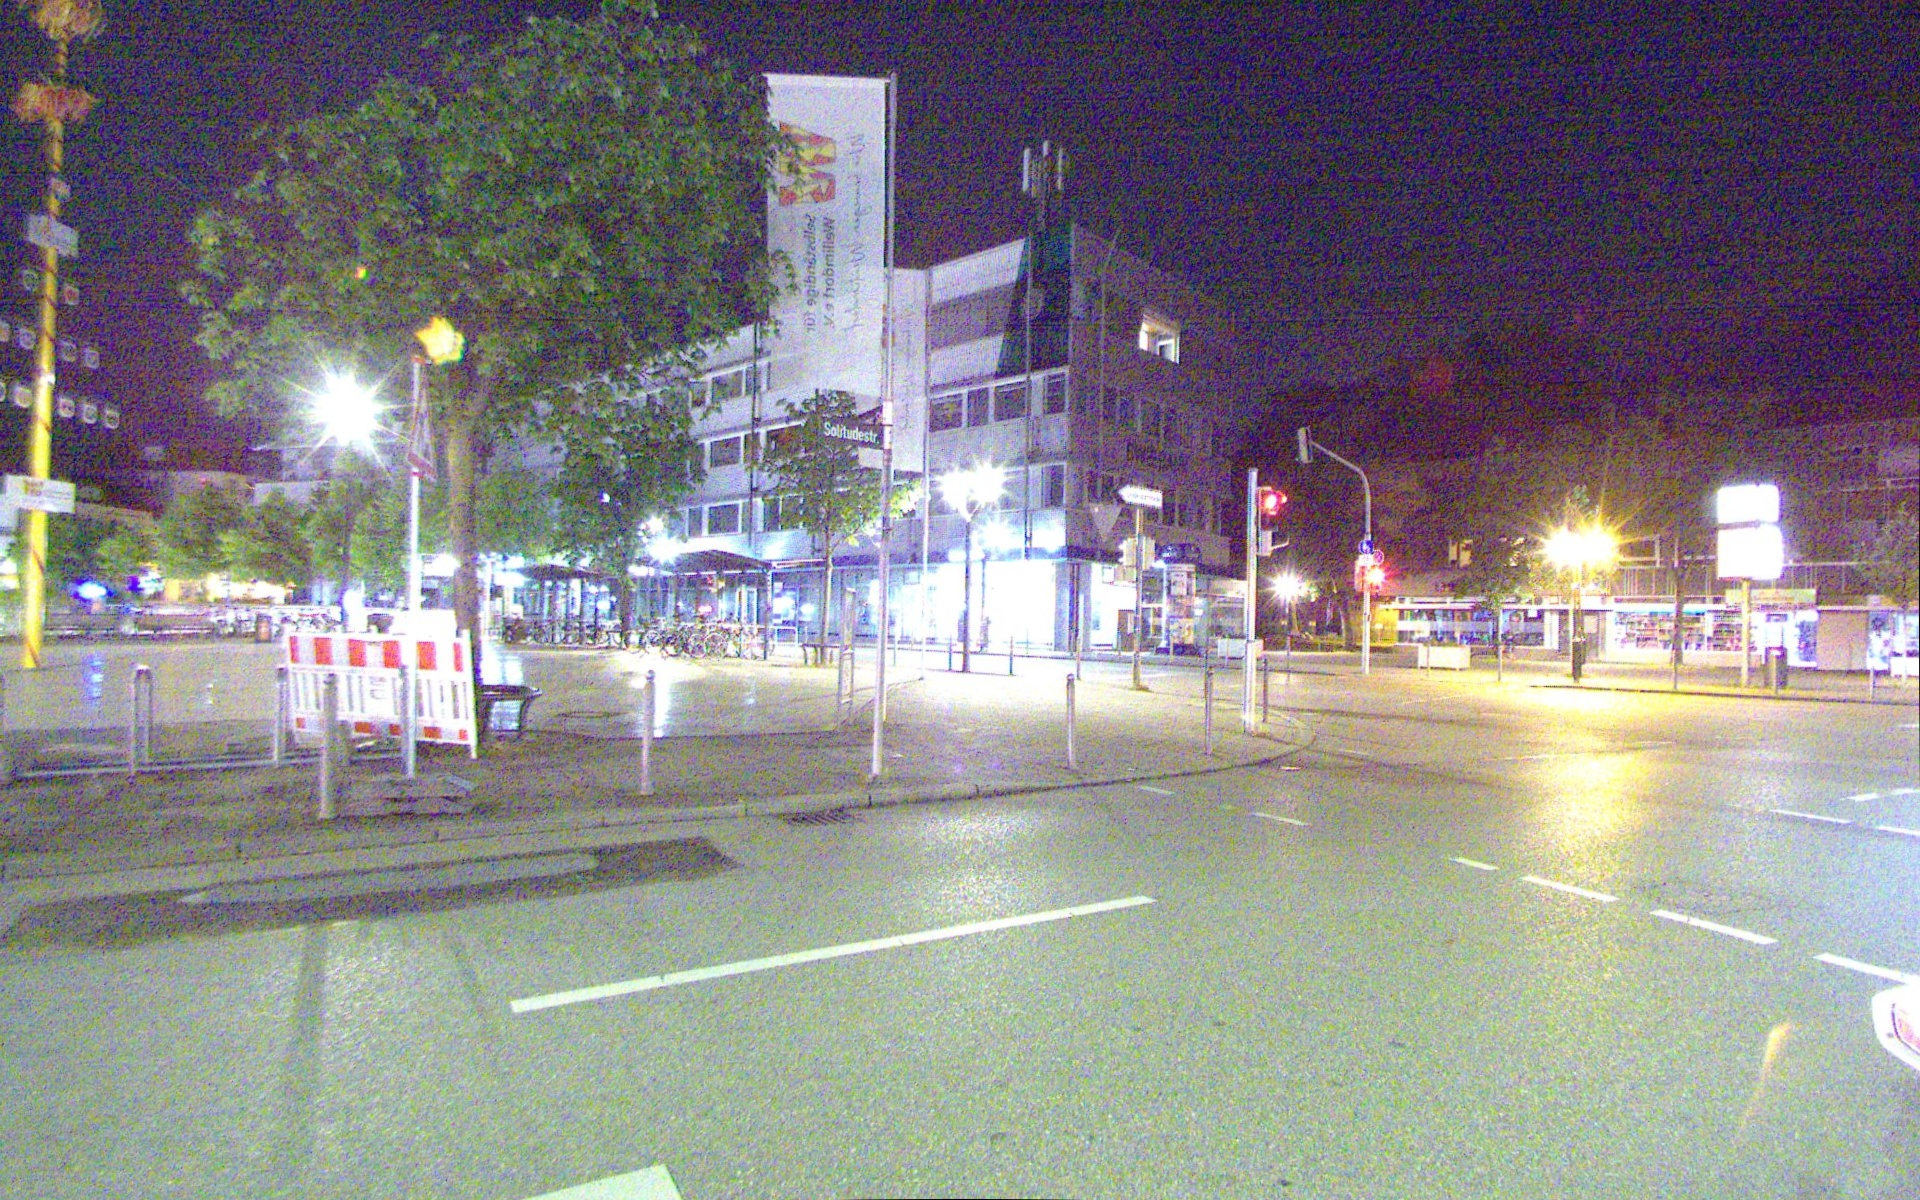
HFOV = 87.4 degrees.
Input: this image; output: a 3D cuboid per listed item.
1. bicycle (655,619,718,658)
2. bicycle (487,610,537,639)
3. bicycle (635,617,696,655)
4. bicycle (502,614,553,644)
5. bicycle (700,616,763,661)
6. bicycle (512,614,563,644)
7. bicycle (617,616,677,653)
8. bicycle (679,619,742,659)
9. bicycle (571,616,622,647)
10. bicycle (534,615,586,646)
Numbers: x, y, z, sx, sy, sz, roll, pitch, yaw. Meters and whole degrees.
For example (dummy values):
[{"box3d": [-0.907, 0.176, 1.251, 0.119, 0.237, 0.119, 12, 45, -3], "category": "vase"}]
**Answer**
[{"box3d": [-7.105, 0.990, 26.138, 0.473, 0.970, 1.525, 2, 0, 44], "category": "bicycle"}, {"box3d": [-15.551, 0.865, 34.881, 0.473, 0.970, 1.525, 2, 0, 44], "category": "bicycle"}, {"box3d": [-7.850, 0.957, 26.821, 0.473, 0.970, 1.525, 2, 0, 44], "category": "bicycle"}, {"box3d": [-14.782, 0.994, 34.341, 0.473, 0.970, 1.525, 2, 0, 44], "category": "bicycle"}, {"box3d": [-5.650, 0.946, 24.923, 0.440, 1.068, 1.525, 2, 0, 43], "category": "bicycle"}, {"box3d": [-14.184, 0.985, 33.736, 0.473, 0.970, 1.525, 2, 0, 44], "category": "bicycle"}, {"box3d": [-8.530, 0.939, 27.421, 0.473, 0.970, 1.525, 2, 0, 44], "category": "bicycle"}, {"box3d": [-6.333, 0.987, 25.556, 0.440, 0.970, 1.525, 2, 0, 43], "category": "bicycle"}, {"box3d": [-11.983, 1.034, 33.132, 0.473, 0.970, 1.525, 2, 0, 44], "category": "bicycle"}, {"box3d": [-13.168, 0.998, 33.081, 0.473, 0.970, 1.525, 2, 0, 44], "category": "bicycle"}]
